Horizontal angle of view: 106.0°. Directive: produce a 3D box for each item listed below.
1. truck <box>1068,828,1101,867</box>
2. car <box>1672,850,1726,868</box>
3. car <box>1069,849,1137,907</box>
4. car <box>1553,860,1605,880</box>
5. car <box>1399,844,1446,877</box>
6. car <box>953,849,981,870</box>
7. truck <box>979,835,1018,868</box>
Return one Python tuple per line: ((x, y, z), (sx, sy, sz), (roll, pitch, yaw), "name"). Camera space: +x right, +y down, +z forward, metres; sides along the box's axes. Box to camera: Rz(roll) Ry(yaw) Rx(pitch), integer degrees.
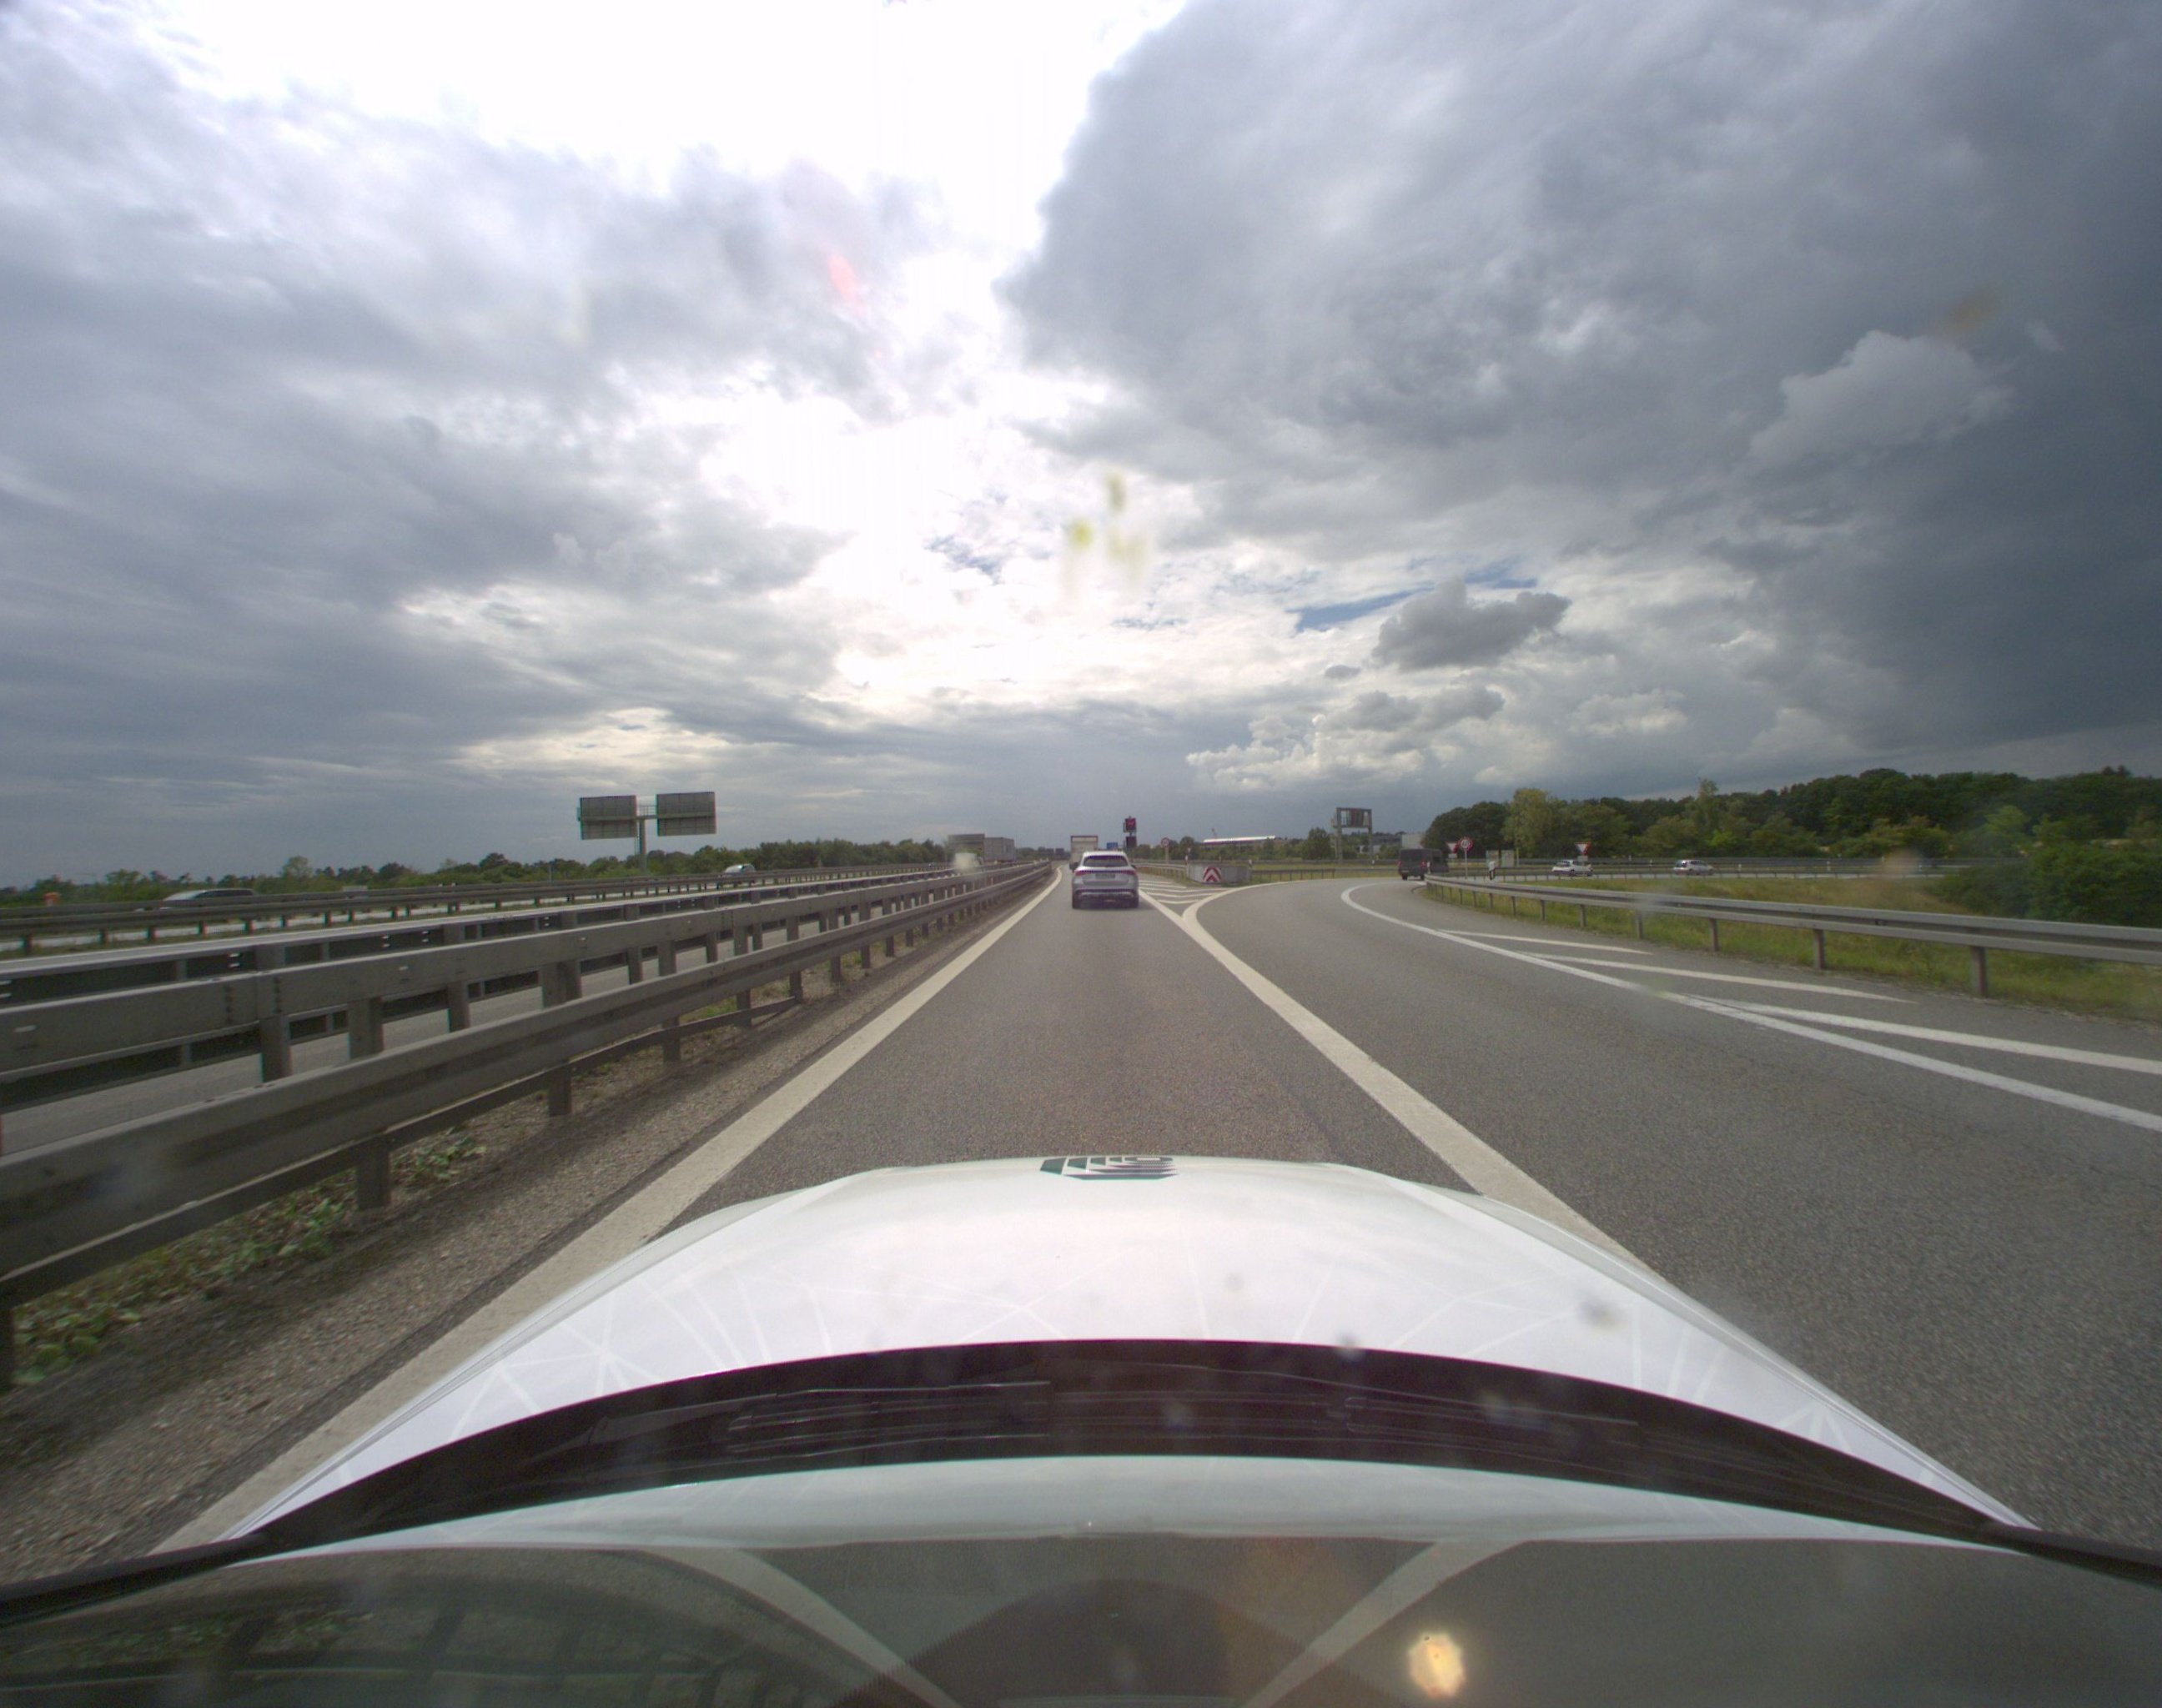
((0.357, -0.499, 69.312), (2.559, 3.126, 8.637), (-1, 0, 2), "truck")
((60.797, 0.507, 80.104), (3.983, 1.709, 1.996), (-1, 1, -7), "car")
((0.662, 0.626, 24.033), (1.812, 1.514, 4.002), (-1, 1, 2), "car")
((46.283, 1.470, 75.739), (3.996, 1.709, 1.989), (-1, 1, -17), "car")
((25.054, 0.455, 59.703), (1.888, 2.261, 4.678), (0, 1, 40), "car")
((-11.605, 0.554, 83.116), (1.986, 2.013, 4.377), (-1, 1, 2), "car")
((-10.700, -0.469, 107.504), (3.172, 4.018, 16.077), (-1, 1, 1), "truck")
